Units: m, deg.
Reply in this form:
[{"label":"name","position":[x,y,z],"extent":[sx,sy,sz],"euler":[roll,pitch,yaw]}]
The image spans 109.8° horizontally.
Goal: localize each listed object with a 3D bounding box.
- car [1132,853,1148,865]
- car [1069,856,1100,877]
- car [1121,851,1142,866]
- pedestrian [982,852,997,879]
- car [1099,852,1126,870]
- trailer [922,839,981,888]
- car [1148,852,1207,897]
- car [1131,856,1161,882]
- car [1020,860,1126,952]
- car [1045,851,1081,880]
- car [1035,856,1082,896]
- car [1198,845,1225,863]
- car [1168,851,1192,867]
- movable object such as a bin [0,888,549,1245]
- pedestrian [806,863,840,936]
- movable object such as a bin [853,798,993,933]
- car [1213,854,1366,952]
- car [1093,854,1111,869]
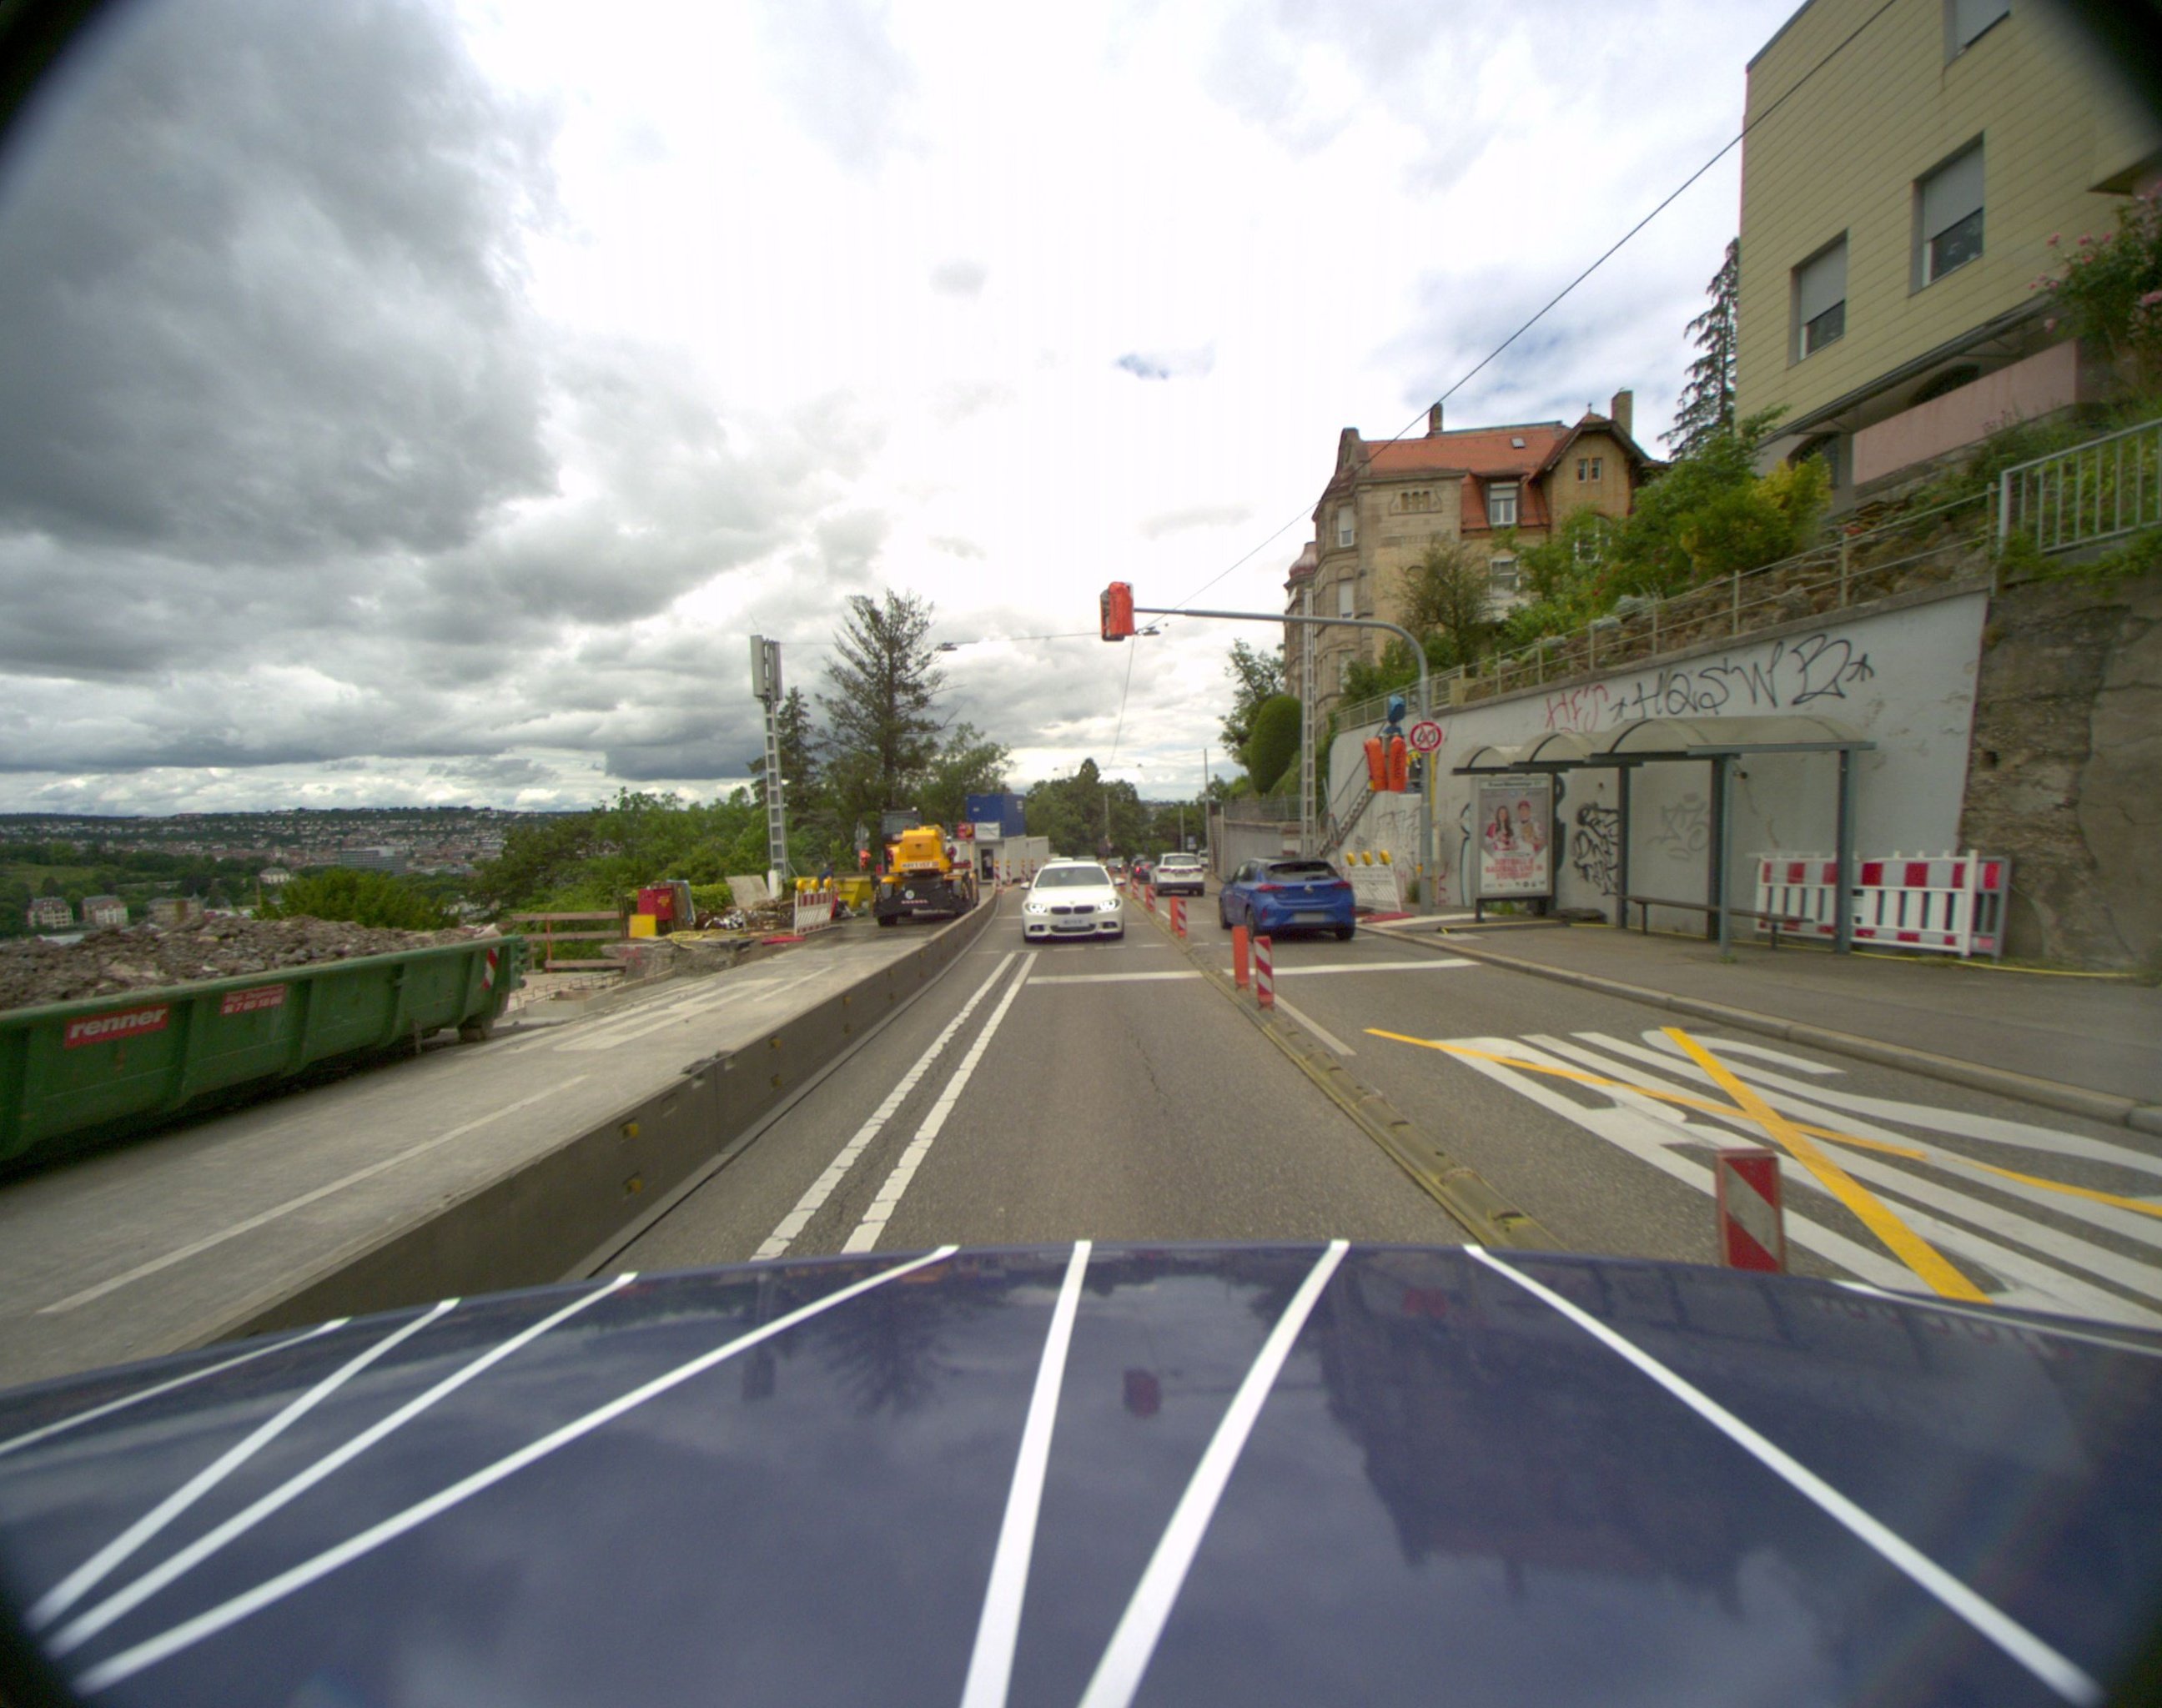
[{"label":"car","position":[7.763,0.604,99.705],"extent":[1.797,1.502,4.002],"euler":[1,1,9]},{"label":"car","position":[0.298,0.988,59.771],"extent":[1.797,1.502,4.002],"euler":[1,1,9]},{"label":"car","position":[5.602,0.507,83.736],"extent":[1.797,1.502,4.003],"euler":[1,1,12]},{"label":"pedestrian","position":[-5.869,0.749,48.520],"extent":[0.651,1.651,0.648],"euler":[-4,1,-34]},{"label":"car","position":[3.018,0.639,71.860],"extent":[1.796,1.502,4.004],"euler":[1,1,14]},{"label":"trailer","position":[-7.093,0.480,42.266],"extent":[2.111,2.535,5.120],"euler":[0,0,3]},{"label":"car","position":[3.737,0.737,30.026],"extent":[1.846,1.590,4.264],"euler":[-2,0,2]},{"label":"car","position":[3.844,0.840,44.803],"extent":[1.675,1.422,3.588],"euler":[0,0,5]},{"label":"car","position":[-0.033,0.925,15.398],"extent":[1.792,1.472,4.245],"euler":[-3,0,3]},{"label":"car","position":[-1.000,0.637,44.322],"extent":[1.791,1.542,4.246],"euler":[-1,0,3]},{"label":"car","position":[-0.915,0.875,32.308],"extent":[1.792,1.472,4.244],"euler":[-3,0,-1]},{"label":"car","position":[16.338,0.022,94.863],"extent":[2.068,2.175,4.971],"euler":[0,0,24]},{"label":"car","position":[8.674,0.416,66.507],"extent":[1.802,1.365,4.391],"euler":[1,1,10]},{"label":"movable object such as a bin","position":[-6.554,1.197,4.180],"extent":[2.380,1.552,7.097],"euler":[-3,0,-2]},{"label":"pedestrian","position":[-6.442,1.122,18.996],"extent":[0.691,1.784,0.539],"euler":[-2,0,-13]},{"label":"movable object such as a bin","position":[-4.175,0.275,21.865],"extent":[2.819,3.053,7.820],"euler":[-3,0,-4]},{"label":"car","position":[3.614,0.772,13.861],"extent":[1.730,1.412,3.820],"euler":[-3,1,1]},{"label":"car","position":[2.353,0.821,83.804],"extent":[1.798,1.502,4.001],"euler":[1,1,5]}]
